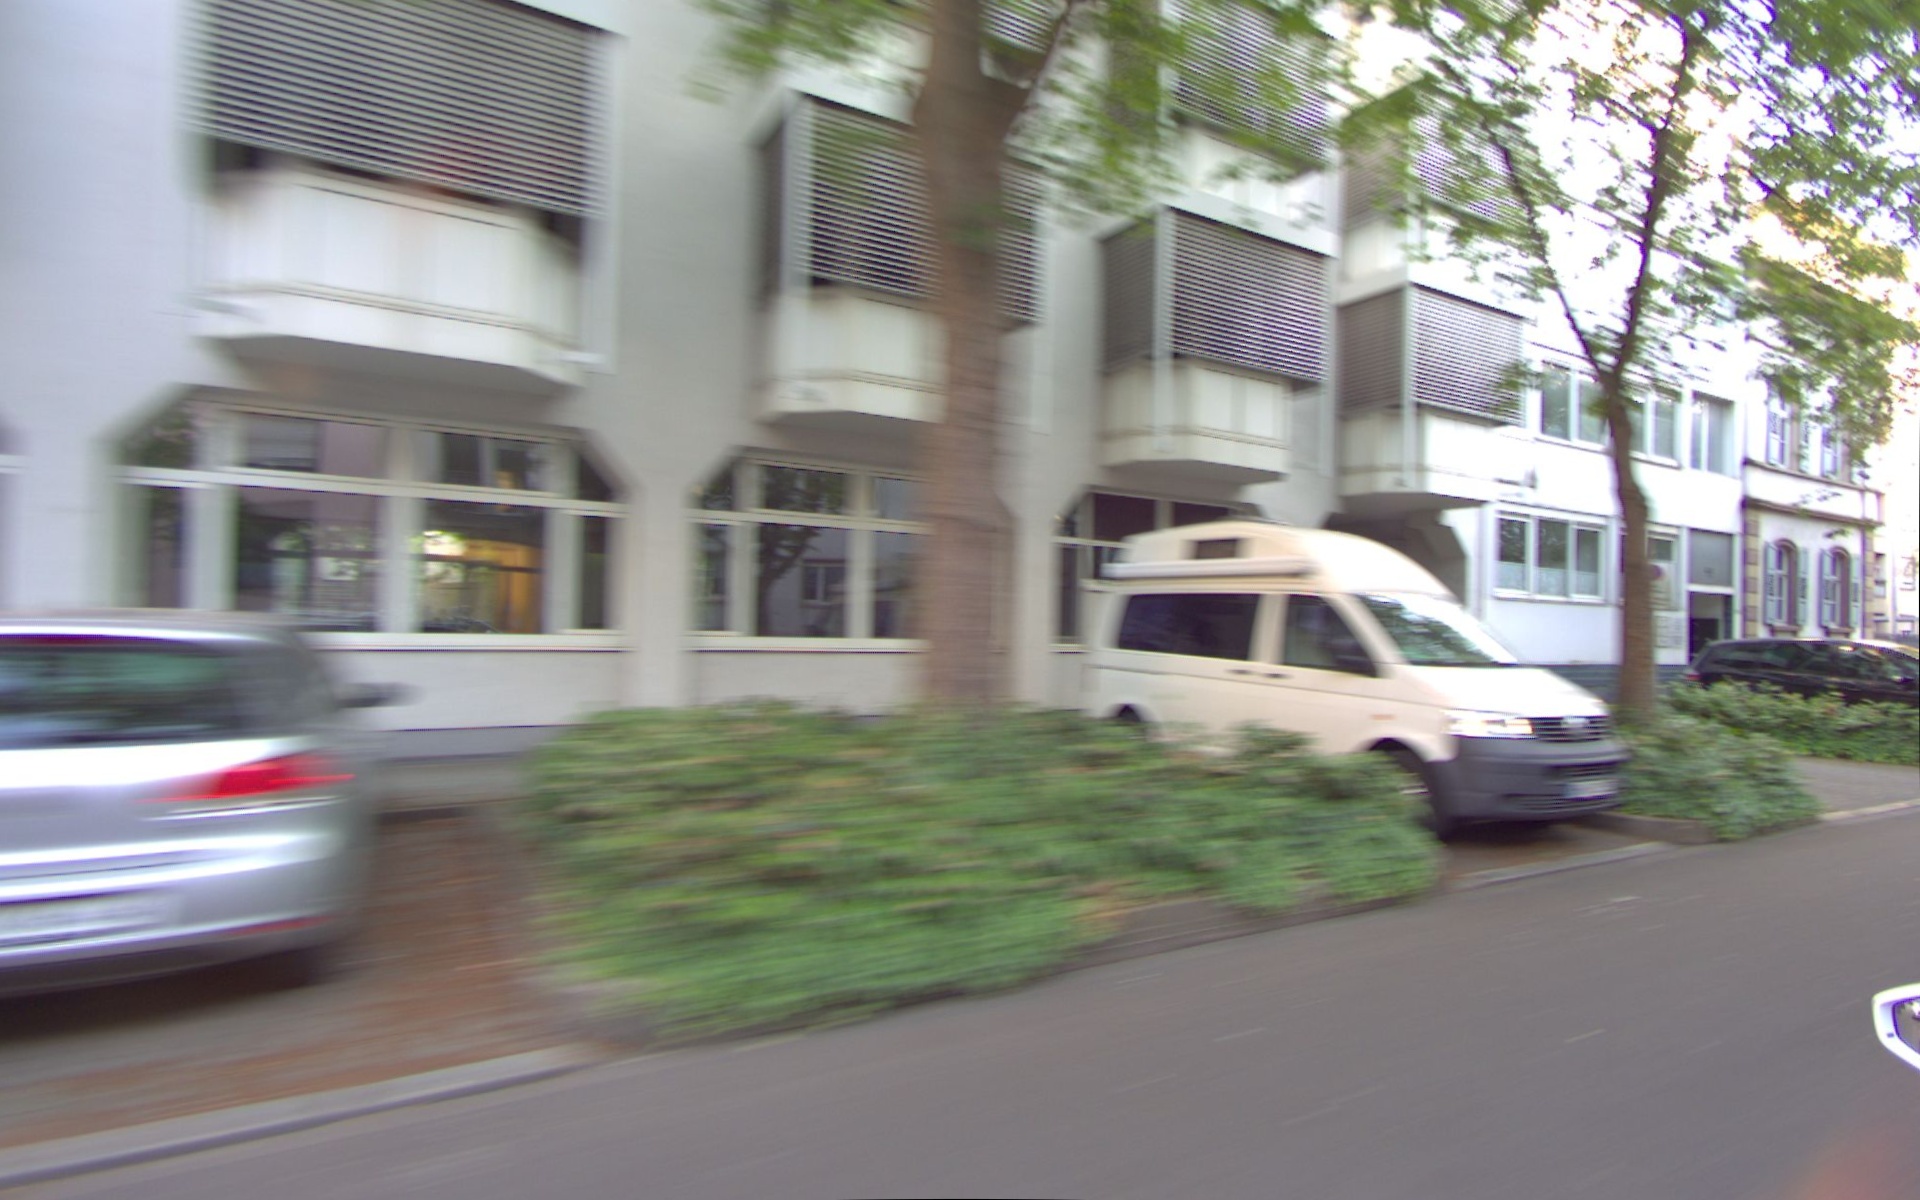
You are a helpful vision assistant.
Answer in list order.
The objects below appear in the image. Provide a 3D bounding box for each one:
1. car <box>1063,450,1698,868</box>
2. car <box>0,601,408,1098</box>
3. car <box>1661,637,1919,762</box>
[{"bbox_3d":[3.242,0.423,8.962,2.096,2.607,4.980,2,-2,-30],"label":"car"},{"bbox_3d":[-3.813,0.776,4.872,1.929,1.488,4.150,2,-2,-29],"label":"car"},{"bbox_3d":[13.796,1.468,15.168,2.134,1.643,4.832,3,-2,-29],"label":"car"}]
